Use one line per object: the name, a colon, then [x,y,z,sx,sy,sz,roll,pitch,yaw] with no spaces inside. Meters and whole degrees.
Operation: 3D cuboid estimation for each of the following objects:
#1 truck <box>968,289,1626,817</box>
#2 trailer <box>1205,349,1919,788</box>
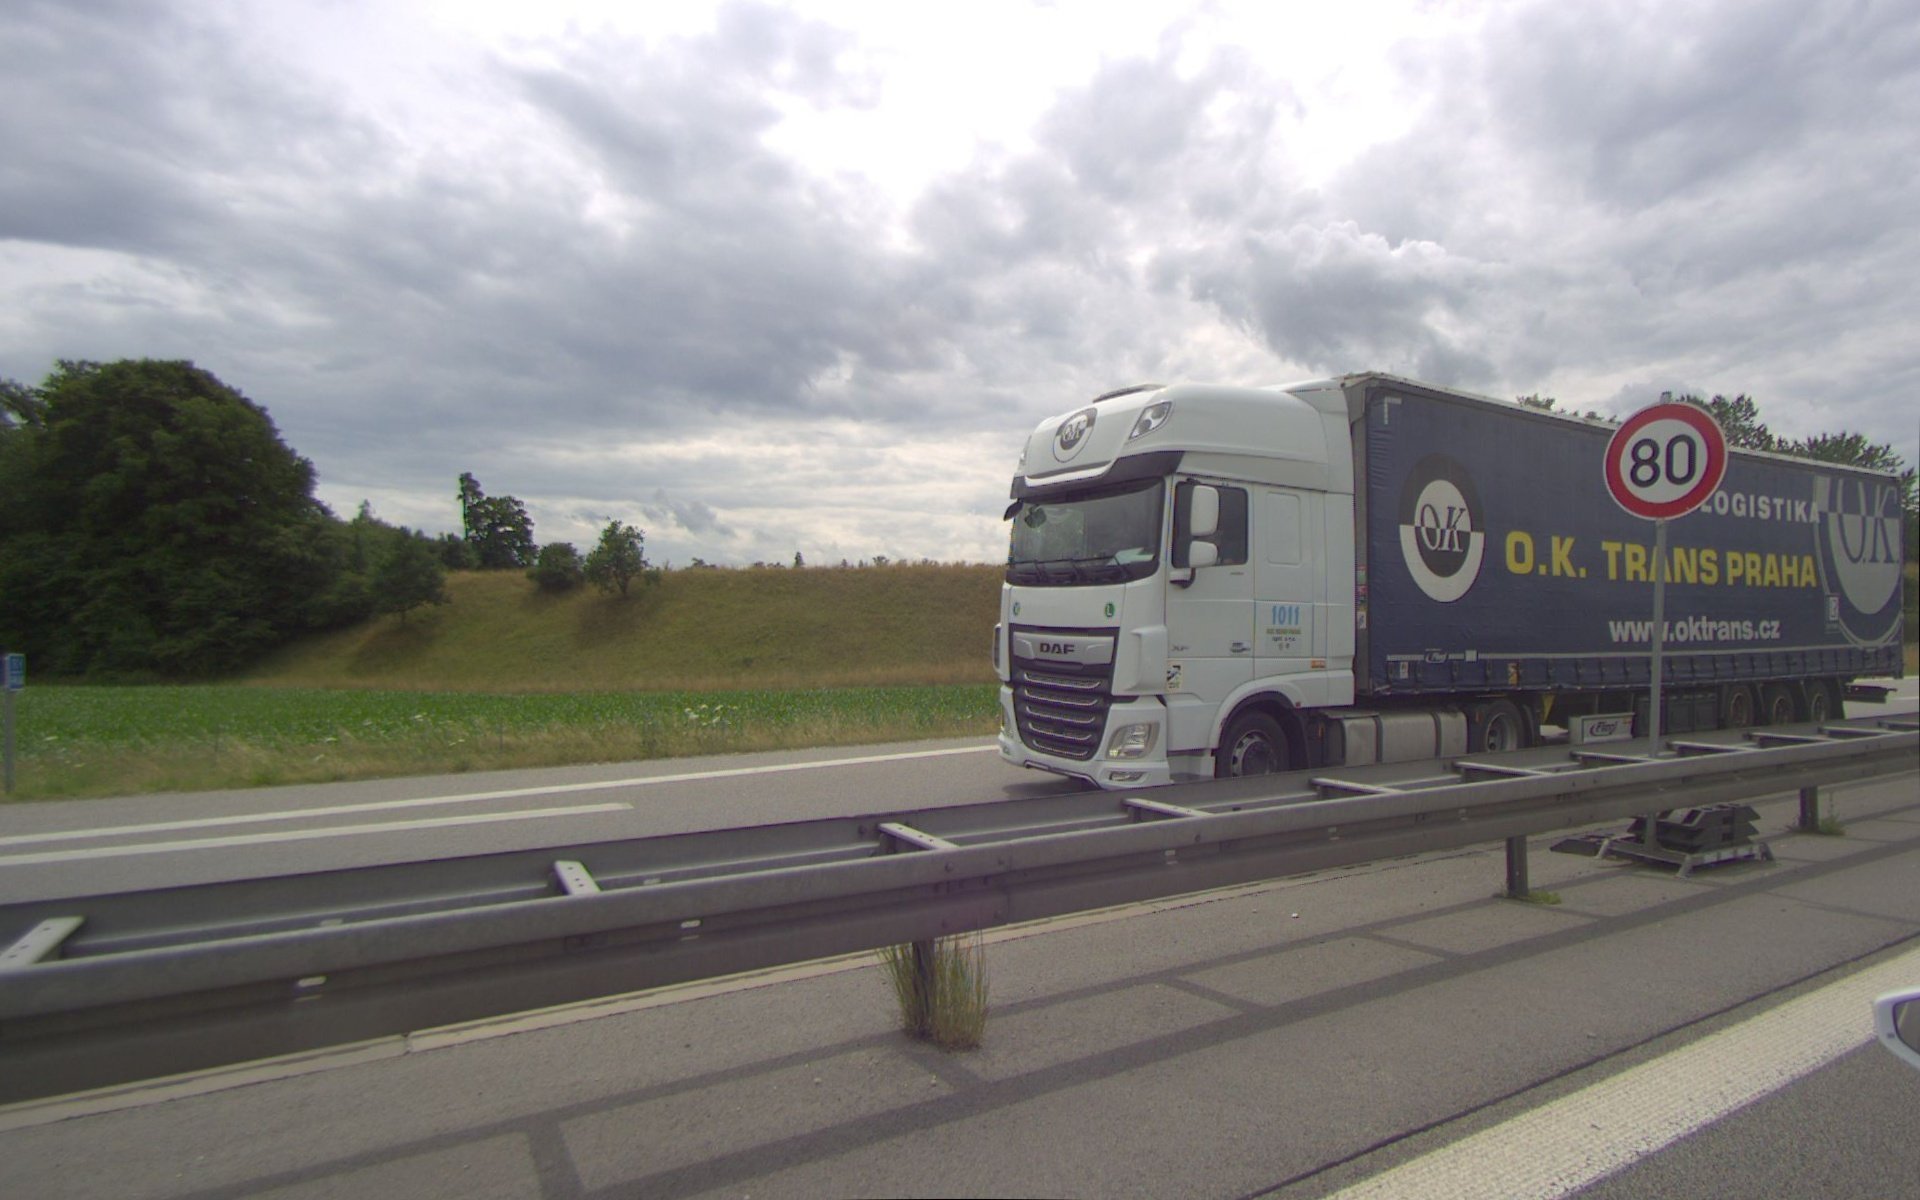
truck: [3.898,-0.285,11.020,7.144,4.197,2.785,2,0,-31]
trailer: [9.449,-0.132,14.306,13.406,4.228,2.785,2,0,-31]
